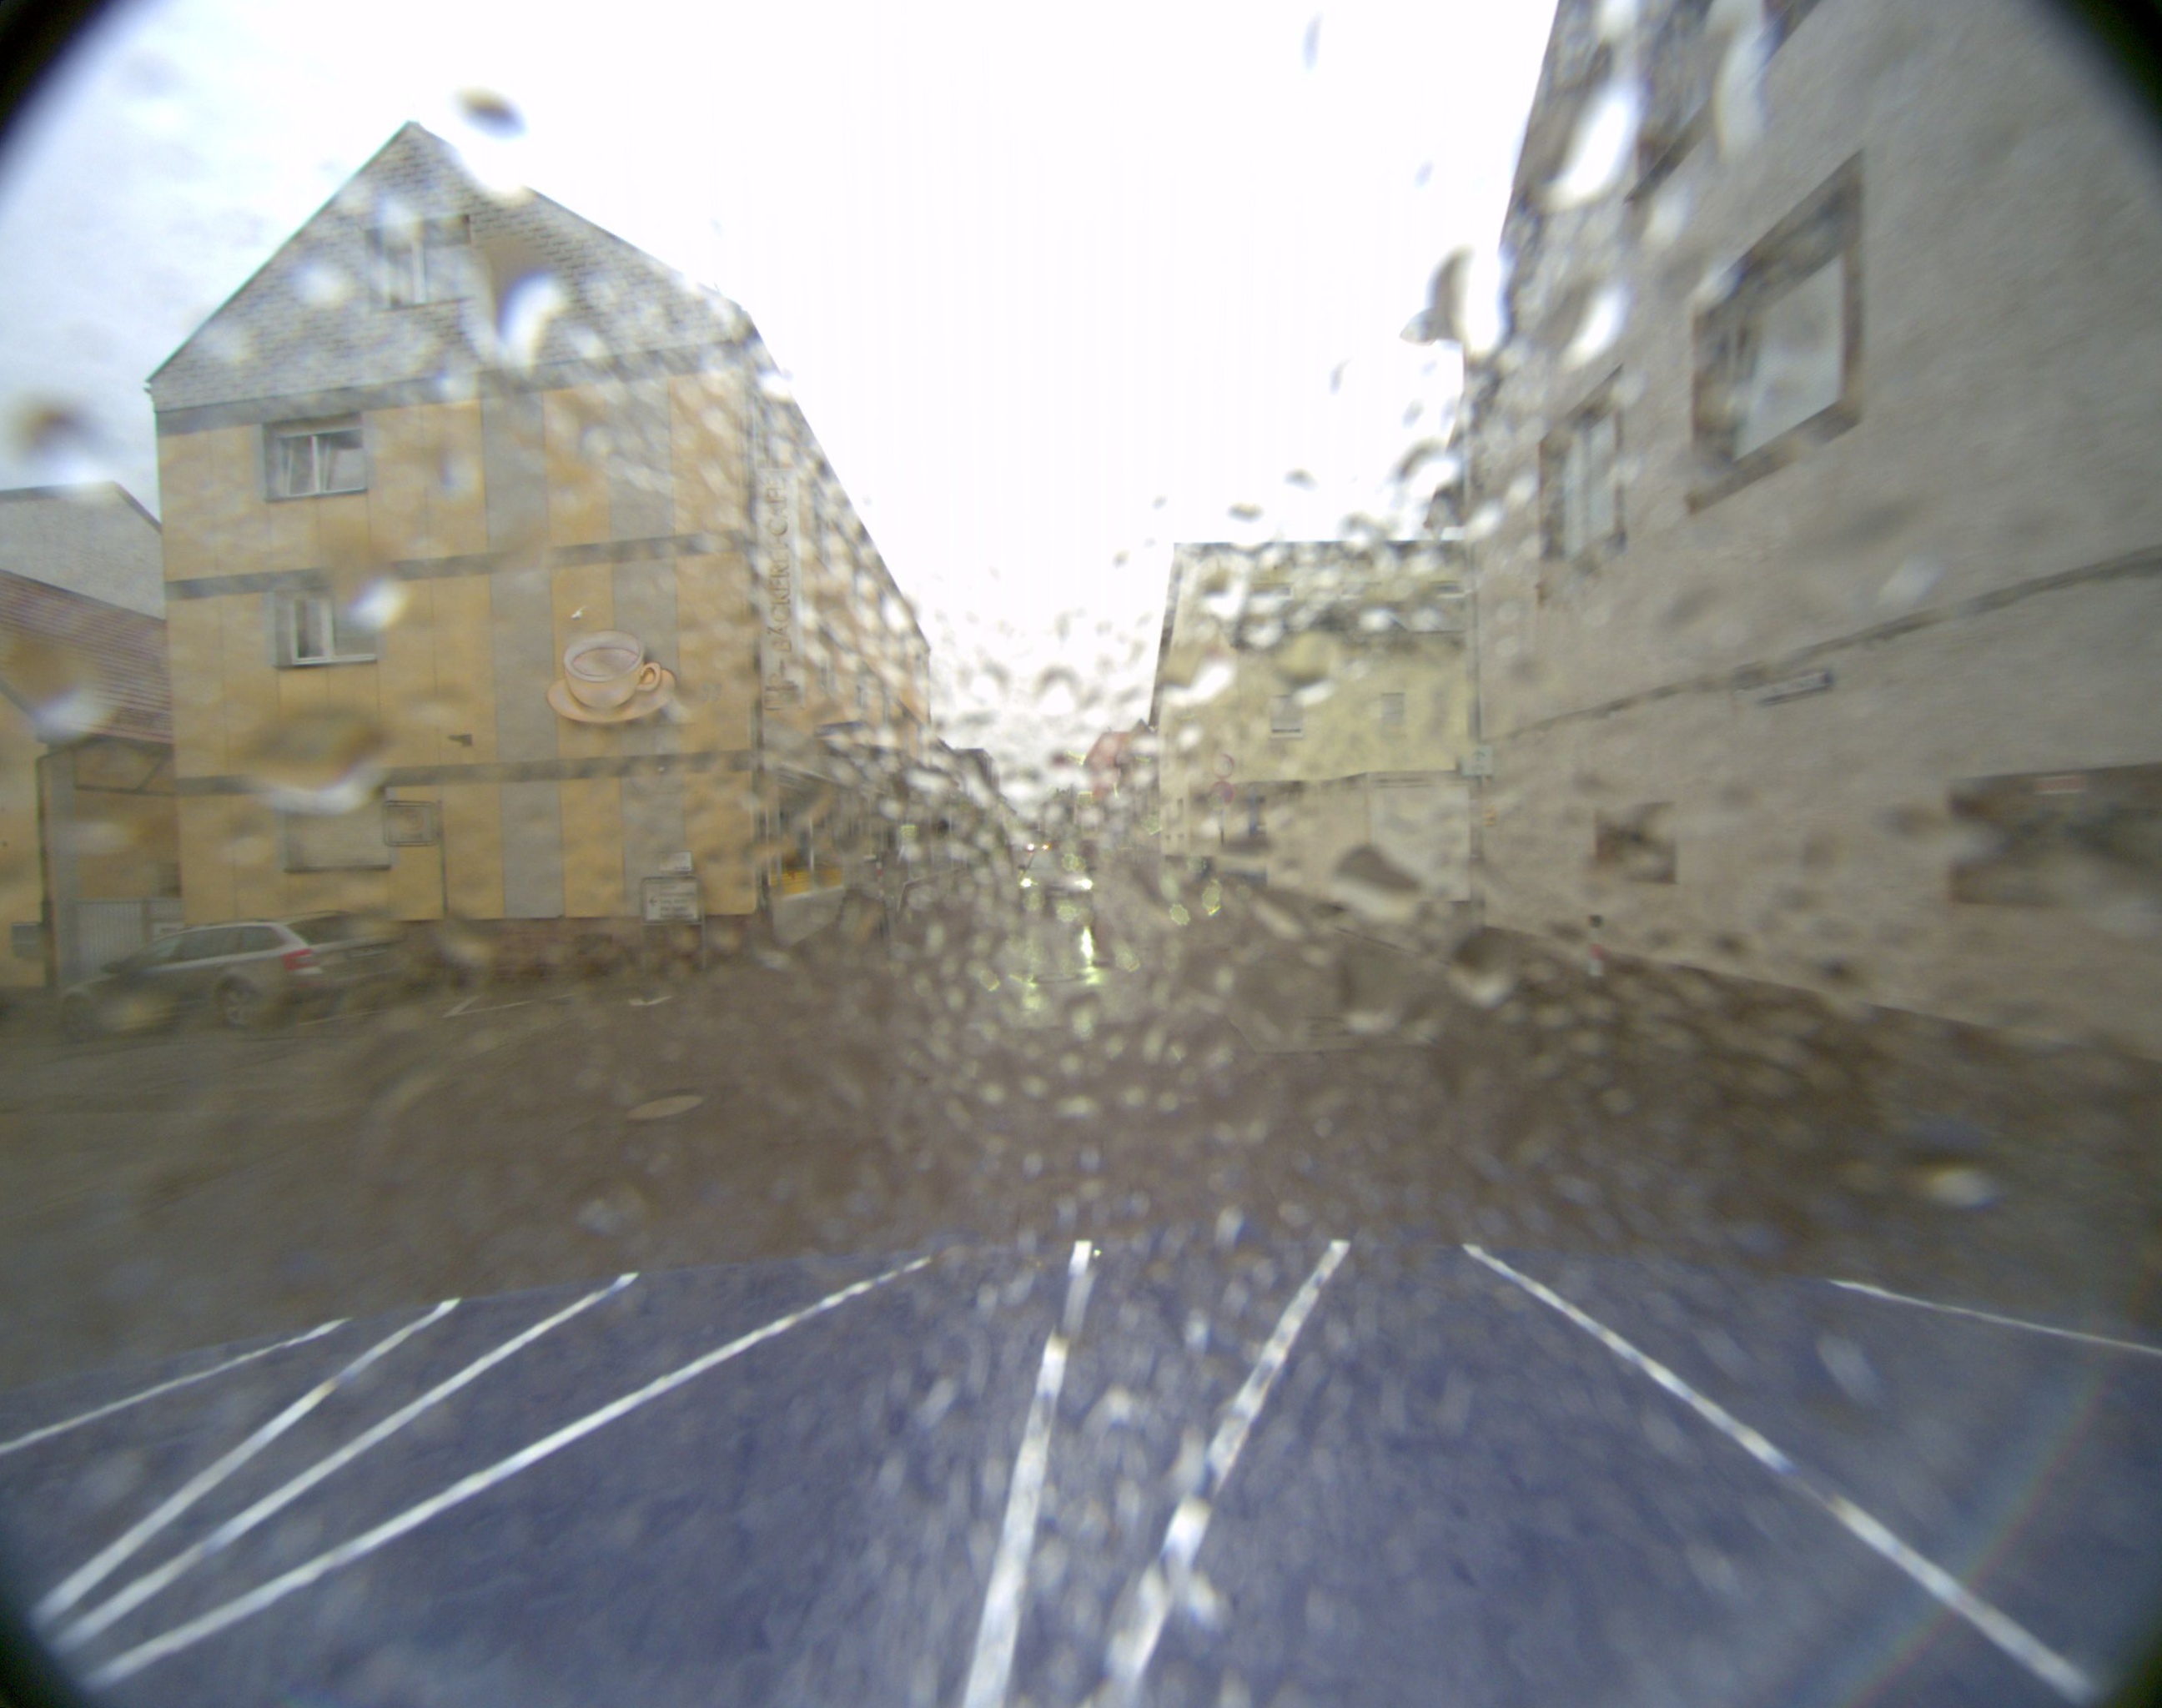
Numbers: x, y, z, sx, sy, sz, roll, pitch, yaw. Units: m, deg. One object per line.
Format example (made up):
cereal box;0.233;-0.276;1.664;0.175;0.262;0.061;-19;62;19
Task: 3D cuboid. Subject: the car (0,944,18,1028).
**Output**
car;-21.084;2.493;13.021;4.013;1.452;1.854;-4;3;14

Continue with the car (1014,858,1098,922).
car;-0.534;0.835;19.181;1.800;1.341;3.739;-4;0;2

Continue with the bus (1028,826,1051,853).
bus;-6.148;-2.108;110.626;2.894;3.590;11.971;-2;2;-5

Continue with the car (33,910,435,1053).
car;-12.183;1.806;11.068;4.192;1.452;1.776;-5;2;9
